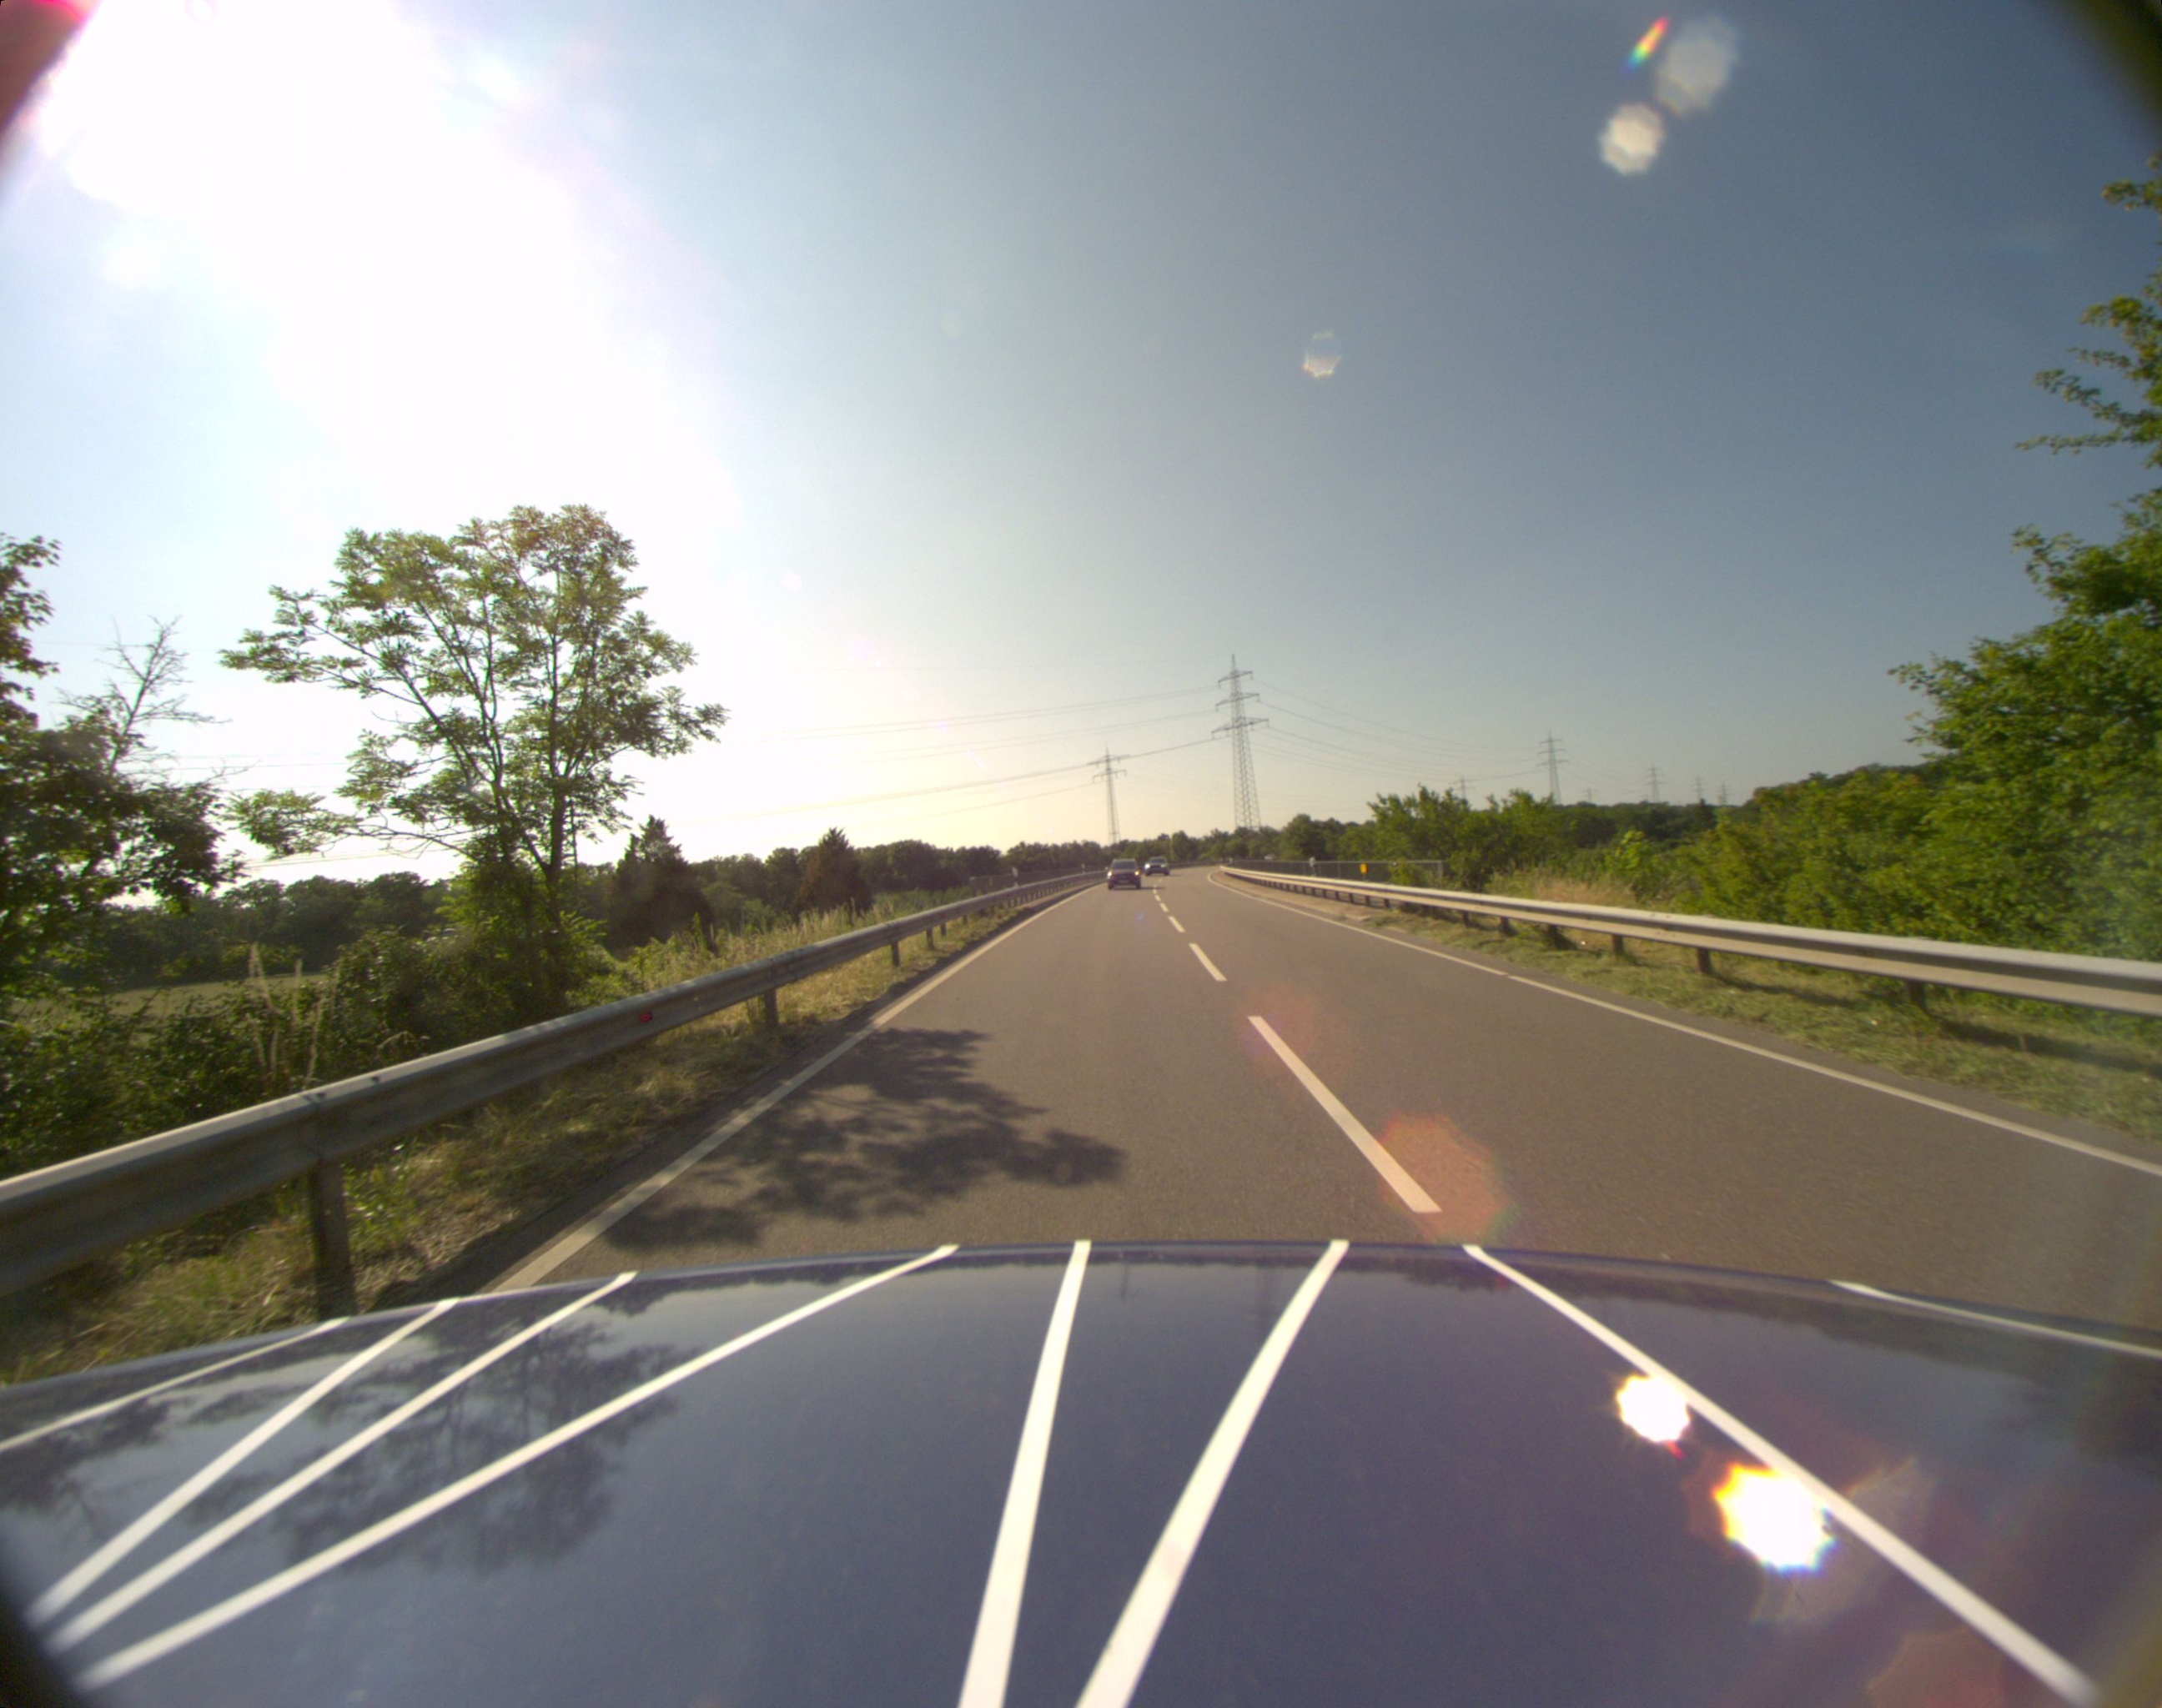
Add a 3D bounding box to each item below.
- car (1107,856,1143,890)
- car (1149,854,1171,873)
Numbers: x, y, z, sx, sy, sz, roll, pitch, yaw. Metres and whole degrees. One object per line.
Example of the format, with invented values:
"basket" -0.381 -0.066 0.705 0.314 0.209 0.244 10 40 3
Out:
"car" 2.335 0.939 39.323 1.606 1.486 4.001 -3 1 6
"car" 7.154 0.796 68.293 1.605 1.486 4.002 -3 1 10
